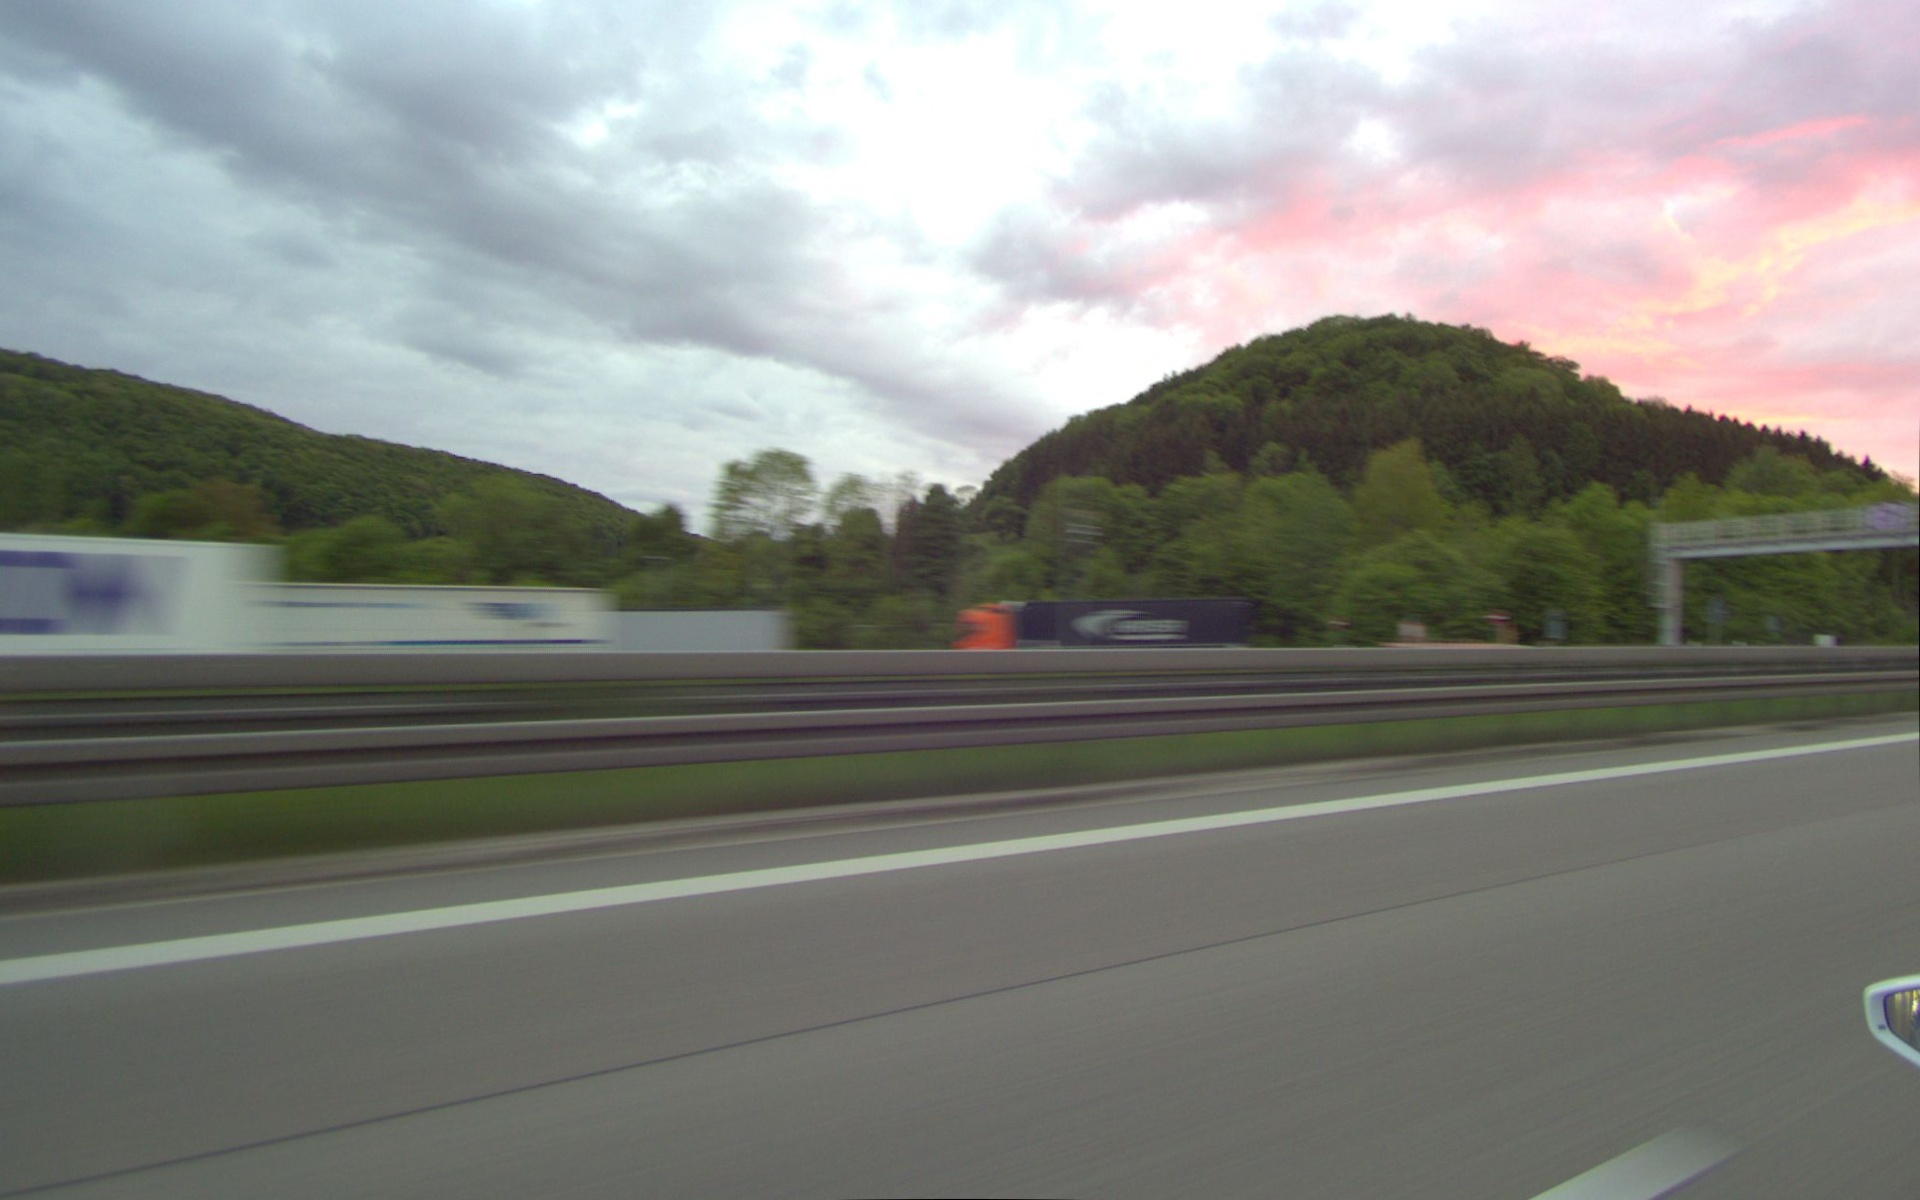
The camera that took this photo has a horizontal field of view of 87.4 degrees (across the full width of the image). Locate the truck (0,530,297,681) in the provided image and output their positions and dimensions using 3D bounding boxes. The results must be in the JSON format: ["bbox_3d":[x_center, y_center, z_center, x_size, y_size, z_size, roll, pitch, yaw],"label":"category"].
[{"bbox_3d":[-23.832,0.112,23.684,13.648,3.470,2.855,1,-1,-35],"label":"truck"}]

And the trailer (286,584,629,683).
[{"bbox_3d":[-20.775,1.401,42.490,12.563,3.728,2.860,1,-1,-30],"label":"trailer"}]

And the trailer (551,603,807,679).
[{"bbox_3d":[-16.380,2.362,59.031,14.153,4.160,3.292,0,-2,5],"label":"trailer"}]

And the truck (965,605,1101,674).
[{"bbox_3d":[4.117,2.206,57.464,7.525,3.728,3.014,1,-1,1],"label":"truck"}]

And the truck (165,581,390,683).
[{"bbox_3d":[-26.387,1.233,39.323,6.942,3.688,2.861,1,-1,-29],"label":"truck"}]

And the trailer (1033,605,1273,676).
[{"bbox_3d":[10.843,2.280,57.381,13.078,3.728,3.072,1,-1,1],"label":"trailer"}]
